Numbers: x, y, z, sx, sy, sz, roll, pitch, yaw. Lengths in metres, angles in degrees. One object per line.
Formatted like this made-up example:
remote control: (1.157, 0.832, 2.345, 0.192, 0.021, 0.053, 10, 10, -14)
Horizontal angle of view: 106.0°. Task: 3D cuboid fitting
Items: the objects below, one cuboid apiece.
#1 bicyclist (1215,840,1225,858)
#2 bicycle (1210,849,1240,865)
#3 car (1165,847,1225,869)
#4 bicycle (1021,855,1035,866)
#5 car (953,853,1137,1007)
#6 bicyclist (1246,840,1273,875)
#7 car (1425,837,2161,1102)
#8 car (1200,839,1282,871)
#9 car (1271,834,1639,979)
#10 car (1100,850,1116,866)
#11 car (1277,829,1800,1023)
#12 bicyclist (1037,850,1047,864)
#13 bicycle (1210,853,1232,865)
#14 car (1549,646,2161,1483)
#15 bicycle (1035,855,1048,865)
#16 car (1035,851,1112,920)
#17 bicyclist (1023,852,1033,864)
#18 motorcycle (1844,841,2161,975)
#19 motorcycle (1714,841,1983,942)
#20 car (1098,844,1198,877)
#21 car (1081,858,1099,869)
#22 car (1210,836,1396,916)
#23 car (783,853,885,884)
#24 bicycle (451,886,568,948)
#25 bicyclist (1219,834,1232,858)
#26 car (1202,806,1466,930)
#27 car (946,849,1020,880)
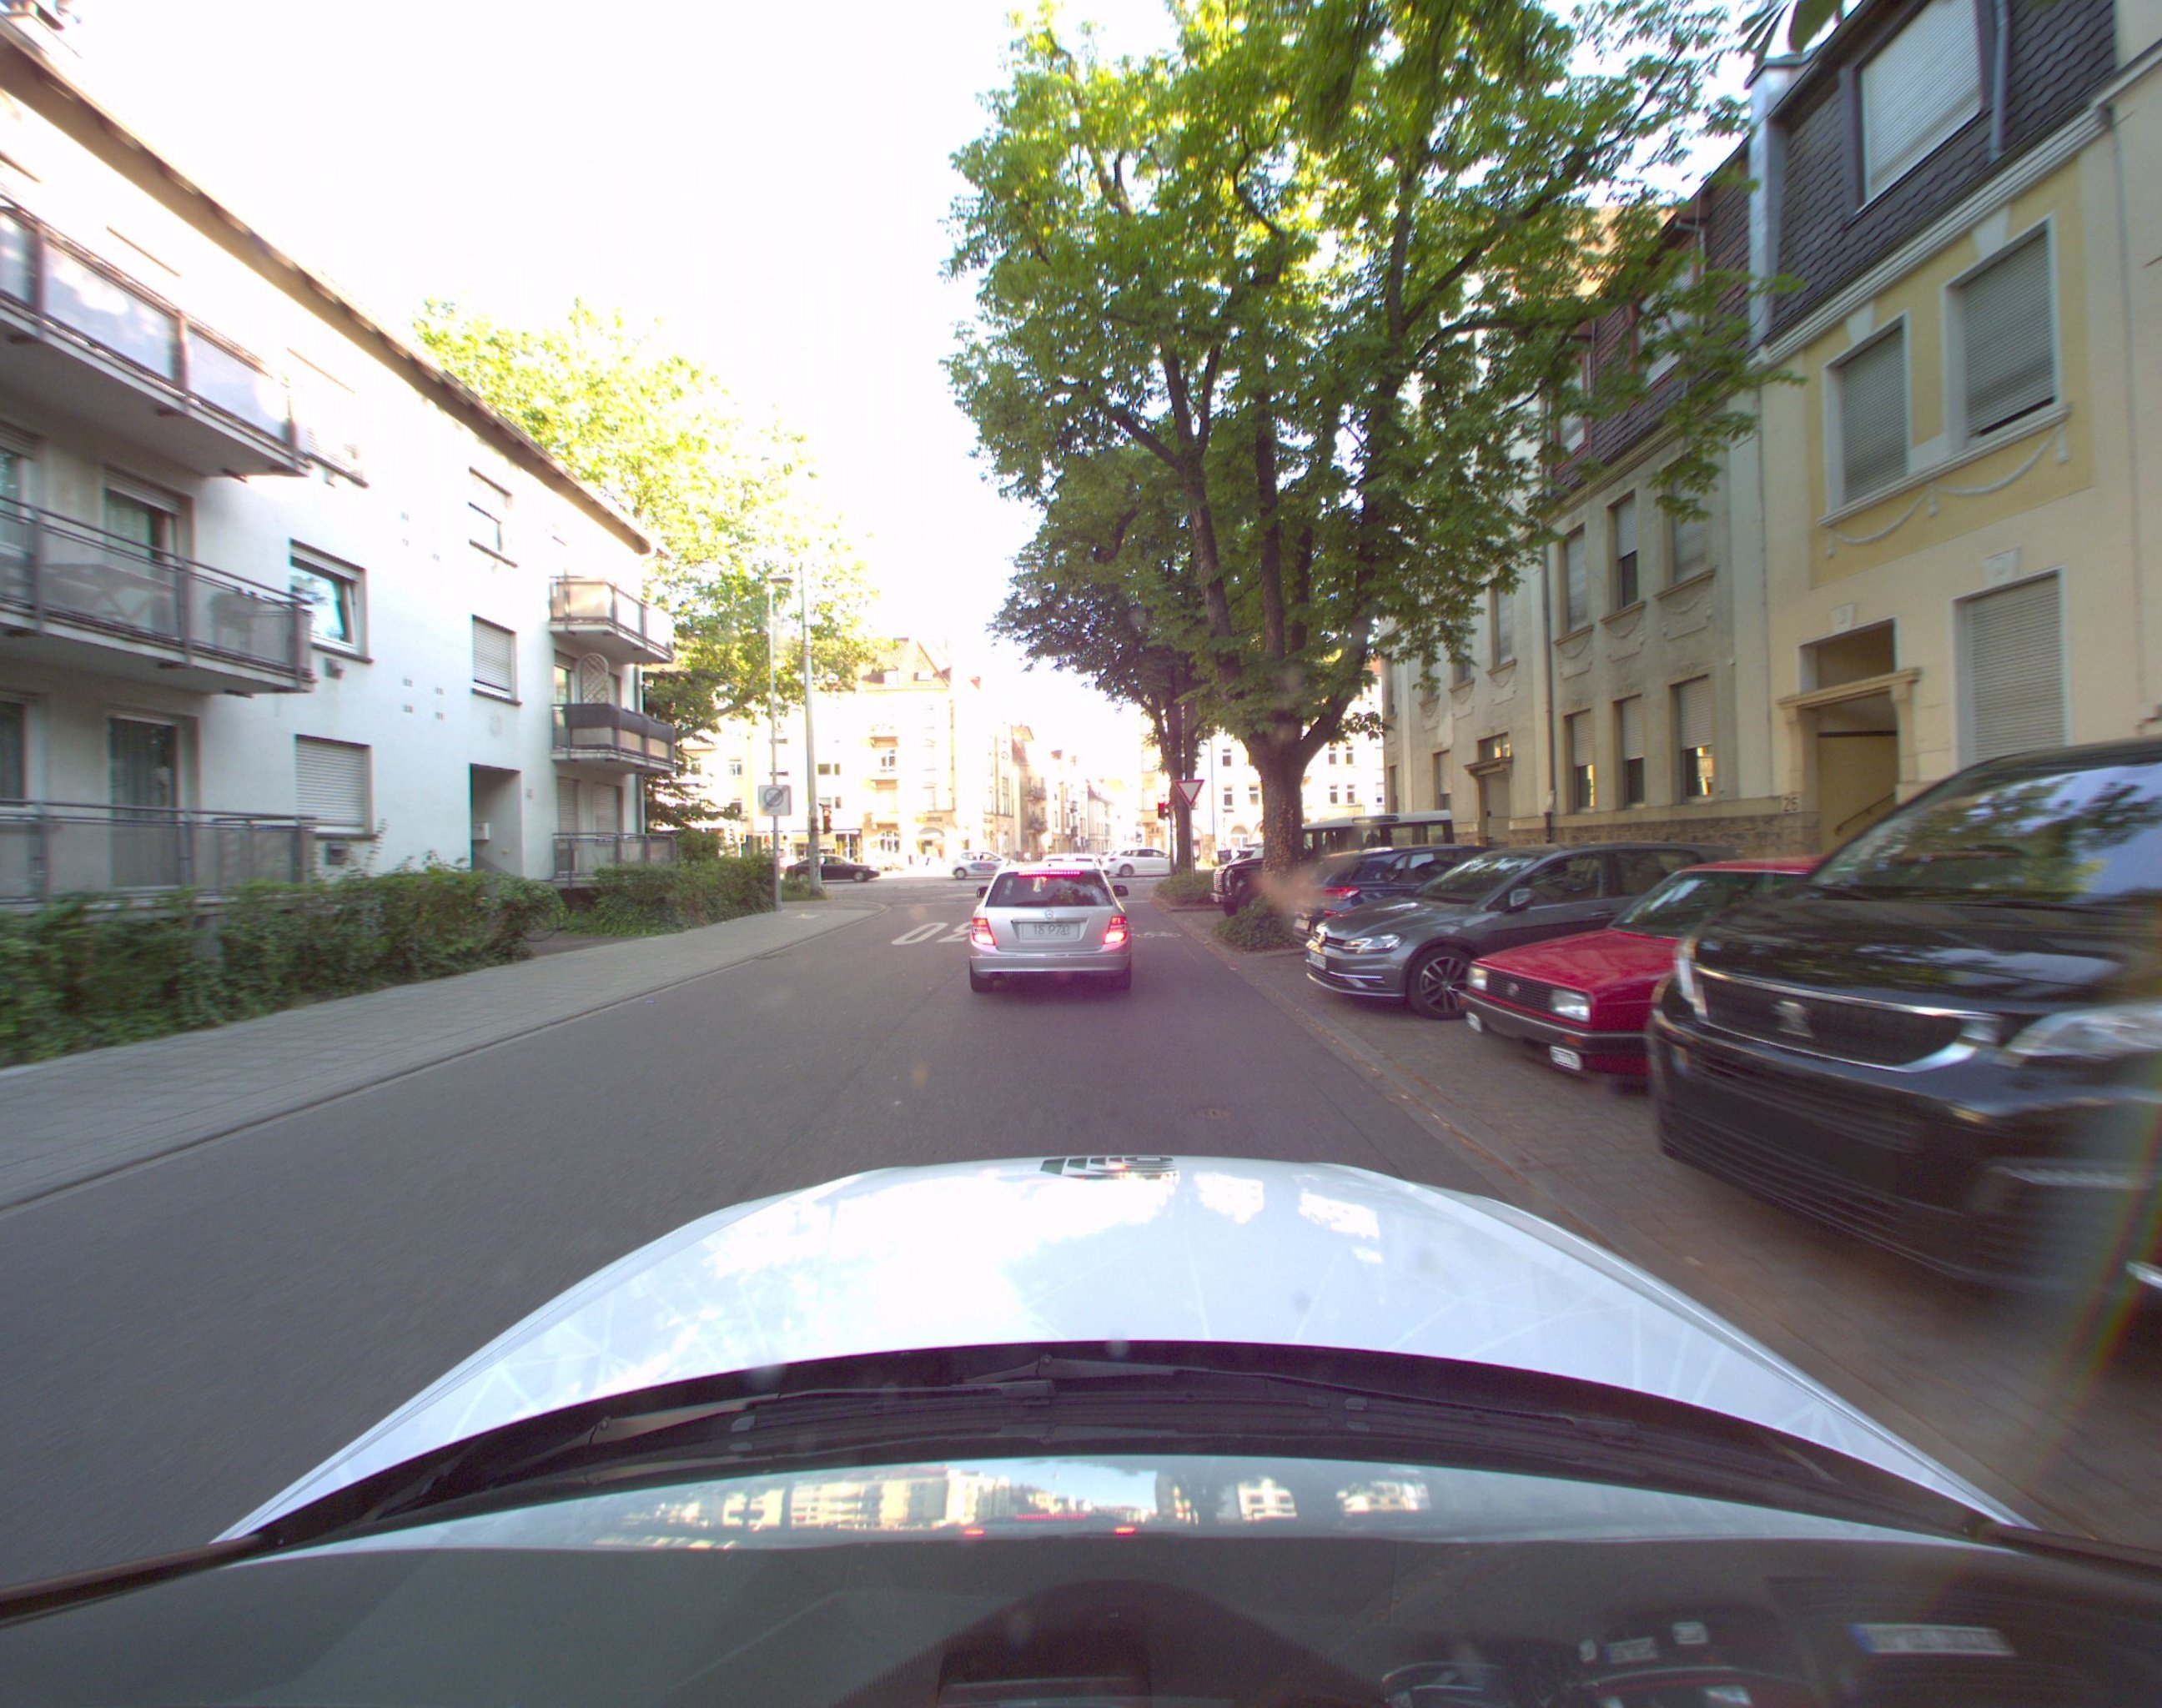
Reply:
bicyclist: (10.969, -0.419, 64.282, 0.642, 1.426, 0.636, -1, 0, -4)
bicycle: (11.584, 0.235, 65.557, 2.252, 1.246, 0.636, -1, 0, -4)
car: (6.673, 0.239, 47.841, 3.219, 1.181, 1.316, -2, 0, -8)
bicycle: (-5.142, 0.620, 78.976, 0.765, 0.940, 1.947, -1, 1, 12)
car: (-0.367, 0.736, 10.196, 1.772, 1.452, 4.546, -1, 0, -1)
bicyclist: (8.523, 0.162, 38.932, 0.997, 1.654, 0.804, -1, 0, -10)
car: (4.748, 0.644, 5.527, 4.128, 1.315, 1.627, -3, 0, -4)
car: (8.592, 0.036, 43.906, 3.962, 1.582, 1.736, -2, 0, -7)
car: (4.424, 0.584, 10.008, 3.714, 1.452, 1.707, -3, 0, -3)
car: (4.114, 0.585, 122.844, 1.776, 2.204, 4.011, -1, 1, 9)
car: (4.136, 0.603, 7.793, 4.043, 1.452, 1.721, -3, 0, -3)
bicyclist: (-3.825, 0.308, 79.048, 0.765, 1.290, 0.755, -1, 0, 12)
bicycle: (11.048, 0.409, 64.302, 1.614, 0.876, 0.636, -1, 0, -4)
car: (4.595, 0.370, 2.948, 4.740, 1.874, 1.895, -3, 0, -4)
bicycle: (-3.820, 0.602, 79.049, 0.765, 0.934, 1.947, -1, 1, 12)
car: (-0.178, 0.657, 19.567, 1.614, 1.446, 4.343, -1, 0, -1)
bicyclist: (-5.126, 0.397, 79.053, 0.765, 1.156, 0.755, -1, 0, 12)
motorcycle: (9.255, 0.446, 8.125, 0.956, 1.073, 2.481, -4, 1, 1)
motorcycle: (9.550, 0.397, 10.386, 0.691, 1.073, 2.870, -4, 1, 0)
car: (3.302, 0.305, 40.562, 4.659, 1.448, 1.735, -2, 0, -8)
car: (1.215, 1.261, 108.049, 1.824, 1.402, 4.011, -1, 1, 9)
car: (4.975, 0.470, 18.549, 3.714, 1.570, 1.707, -3, 0, -3)
car: (-12.478, 0.714, 41.371, 4.685, 1.428, 1.715, -2, 0, -8)
bicycle: (-9.996, 1.076, 14.286, 1.630, 1.008, 0.511, 1, -1, -40)
bicyclist: (11.655, -0.660, 65.559, 0.890, 1.859, 0.636, -1, 0, -4)
car: (4.723, 0.248, 15.577, 4.454, 2.036, 1.699, -3, 0, -3)
car: (-5.033, 0.510, 42.069, 3.683, 1.449, 1.512, -2, 0, -8)
